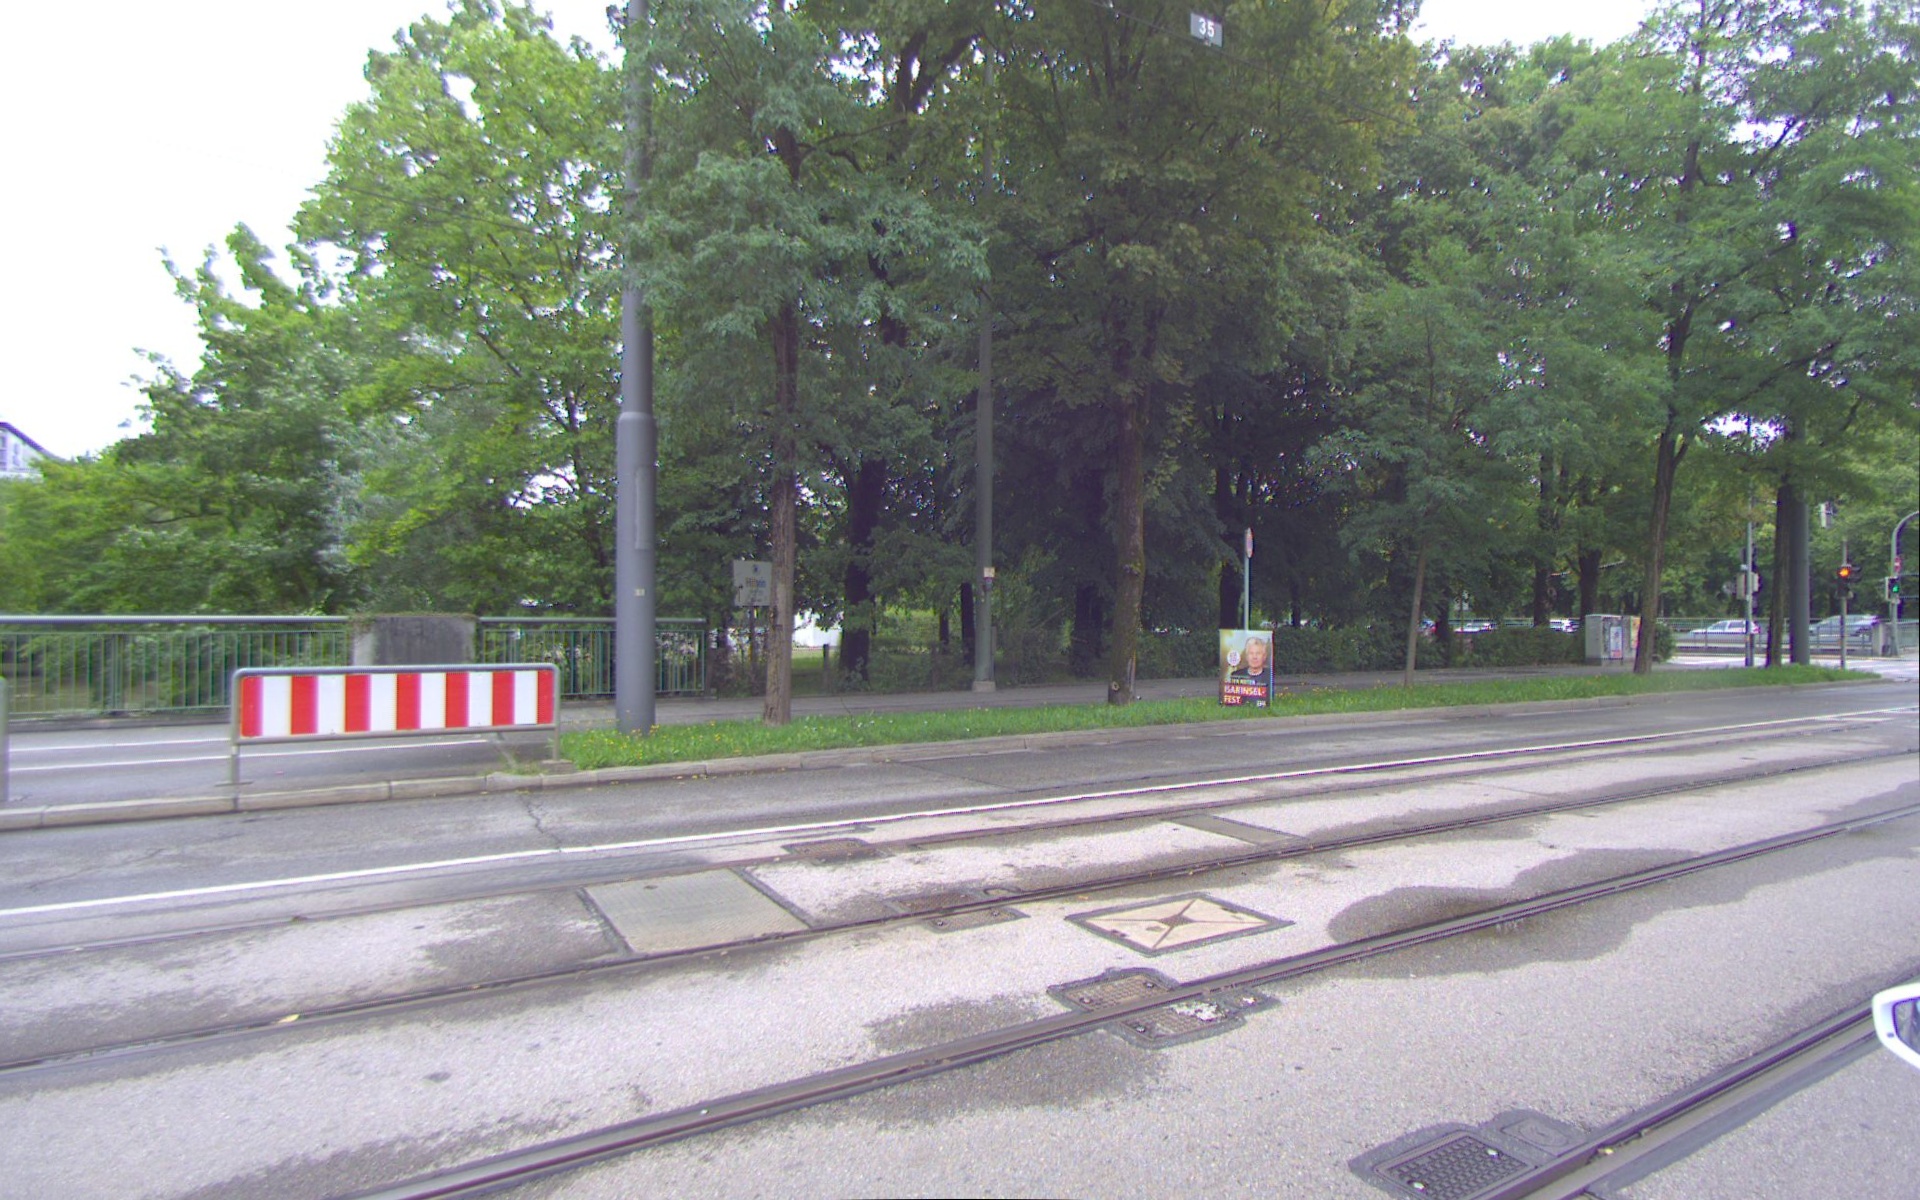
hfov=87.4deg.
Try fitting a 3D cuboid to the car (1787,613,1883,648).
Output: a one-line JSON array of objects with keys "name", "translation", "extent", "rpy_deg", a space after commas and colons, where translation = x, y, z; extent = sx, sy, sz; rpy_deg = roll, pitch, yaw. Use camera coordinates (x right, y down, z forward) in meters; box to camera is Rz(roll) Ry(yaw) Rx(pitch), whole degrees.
[{"name": "car", "translation": [51.542, 1.777, 59.227], "extent": [1.476, 1.912, 3.994], "rpy_deg": [1, 1, -36]}]

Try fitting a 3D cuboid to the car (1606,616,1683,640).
[{"name": "car", "translation": [46.008, 1.847, 67.589], "extent": [1.703, 1.423, 3.900], "rpy_deg": [1, 0, -34]}]

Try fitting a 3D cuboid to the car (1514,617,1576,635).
[{"name": "car", "translation": [42.477, 1.866, 72.986], "extent": [1.238, 1.201, 3.704], "rpy_deg": [1, 0, -34]}]

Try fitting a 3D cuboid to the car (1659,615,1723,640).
[{"name": "car", "translation": [47.368, 1.766, 65.108], "extent": [1.238, 1.471, 3.090], "rpy_deg": [1, 1, -34]}]
